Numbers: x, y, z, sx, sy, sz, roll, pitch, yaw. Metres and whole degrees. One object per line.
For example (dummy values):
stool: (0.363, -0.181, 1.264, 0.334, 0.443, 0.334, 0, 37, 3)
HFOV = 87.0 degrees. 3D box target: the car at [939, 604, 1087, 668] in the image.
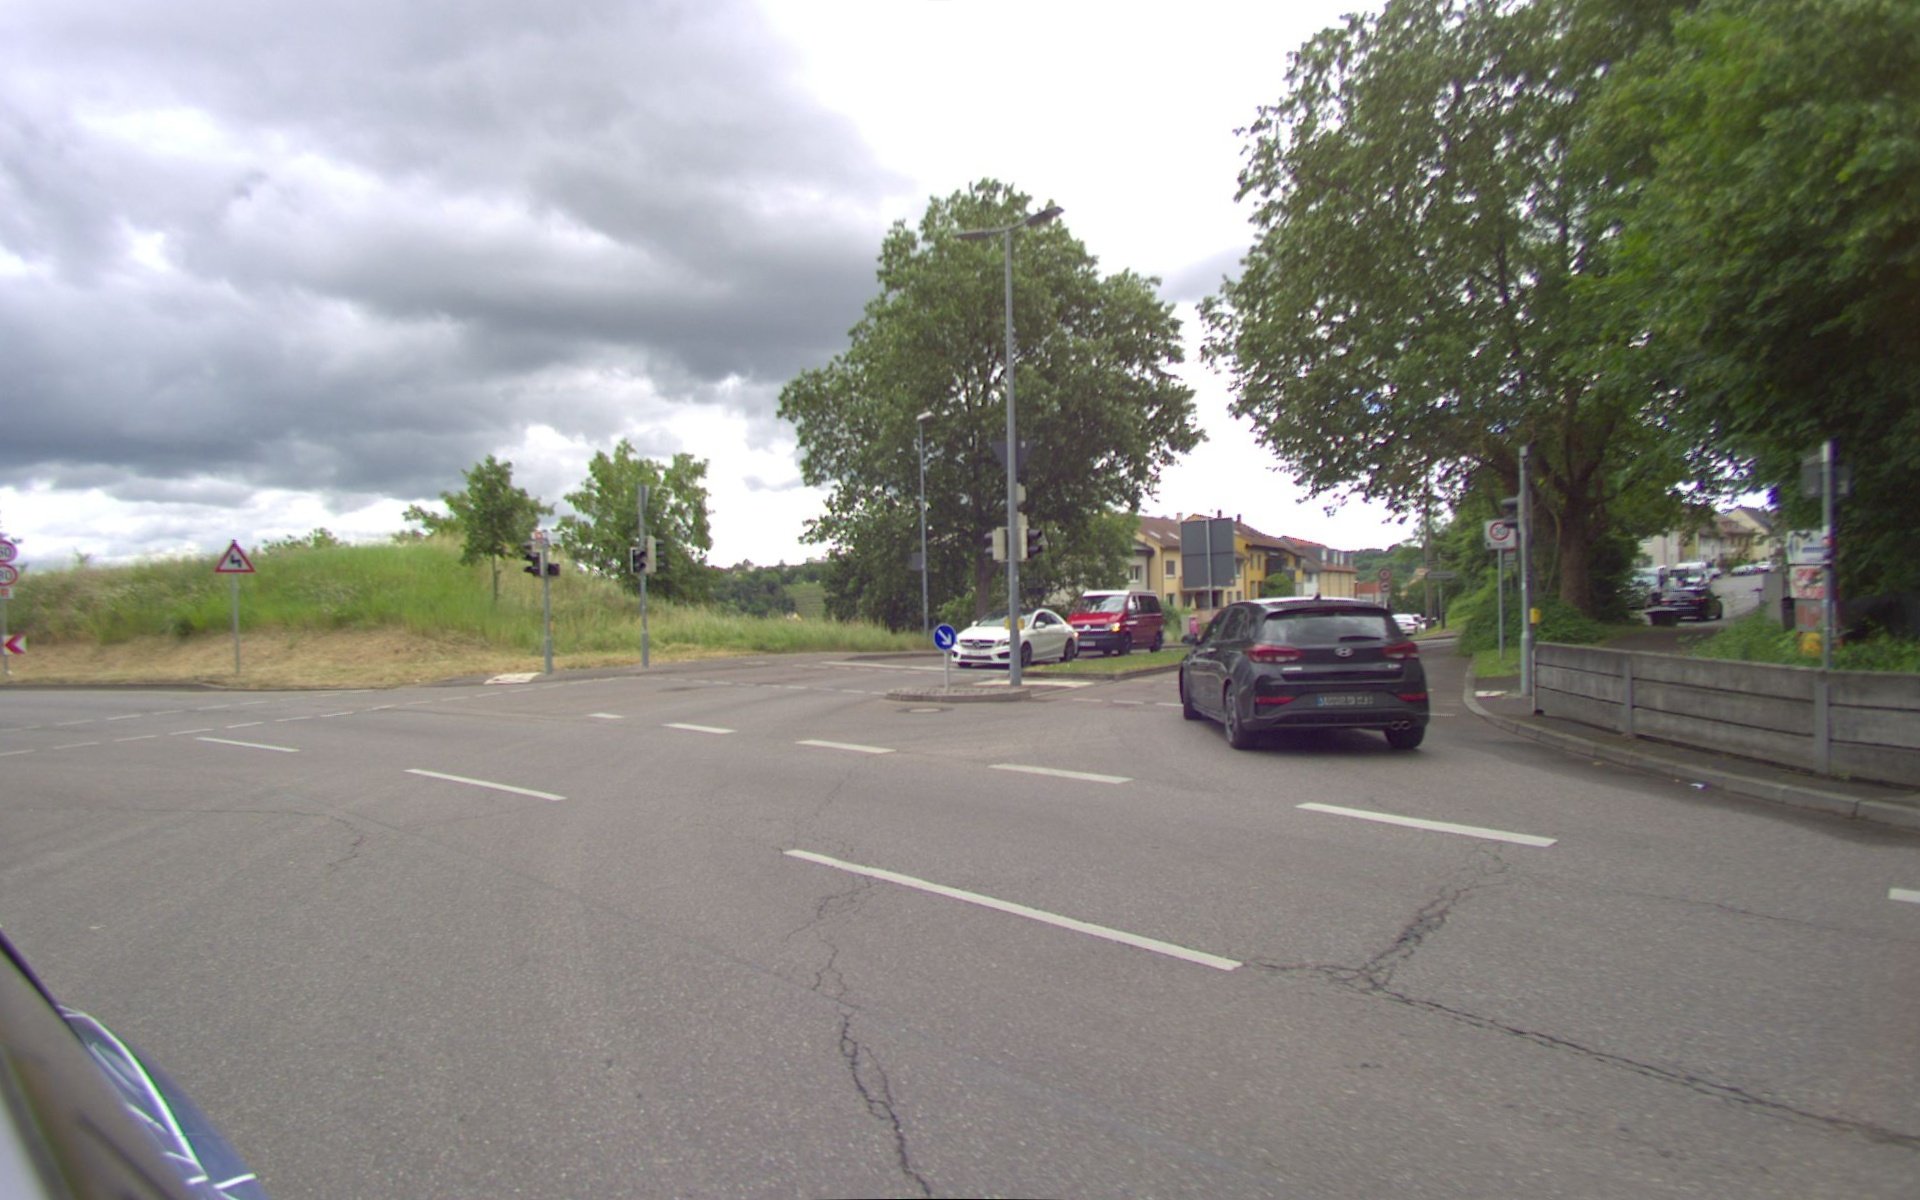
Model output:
car: (1.416, 0.820, 25.047, 1.991, 1.349, 4.377, 0, 1, 28)

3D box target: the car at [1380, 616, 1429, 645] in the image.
car: (24.219, 1.655, 55.081, 1.863, 1.501, 3.957, -2, -3, 32)

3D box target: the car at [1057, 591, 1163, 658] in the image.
car: (4.569, 0.693, 30.347, 1.847, 1.827, 4.000, -2, -1, 29)

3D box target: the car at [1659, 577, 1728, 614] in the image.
car: (32.788, -0.228, 45.191, 2.000, 1.519, 3.944, -2, 0, 43)

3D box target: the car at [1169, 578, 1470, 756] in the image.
car: (3.534, 0.583, 10.837, 1.798, 1.488, 4.134, -2, 0, 2)

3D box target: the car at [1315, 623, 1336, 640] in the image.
car: (33.099, 2.811, 91.762, 1.659, 1.364, 3.709, -2, 0, 19)

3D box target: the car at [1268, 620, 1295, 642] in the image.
car: (22.306, 2.123, 70.143, 1.659, 1.364, 3.709, -2, 0, 19)
